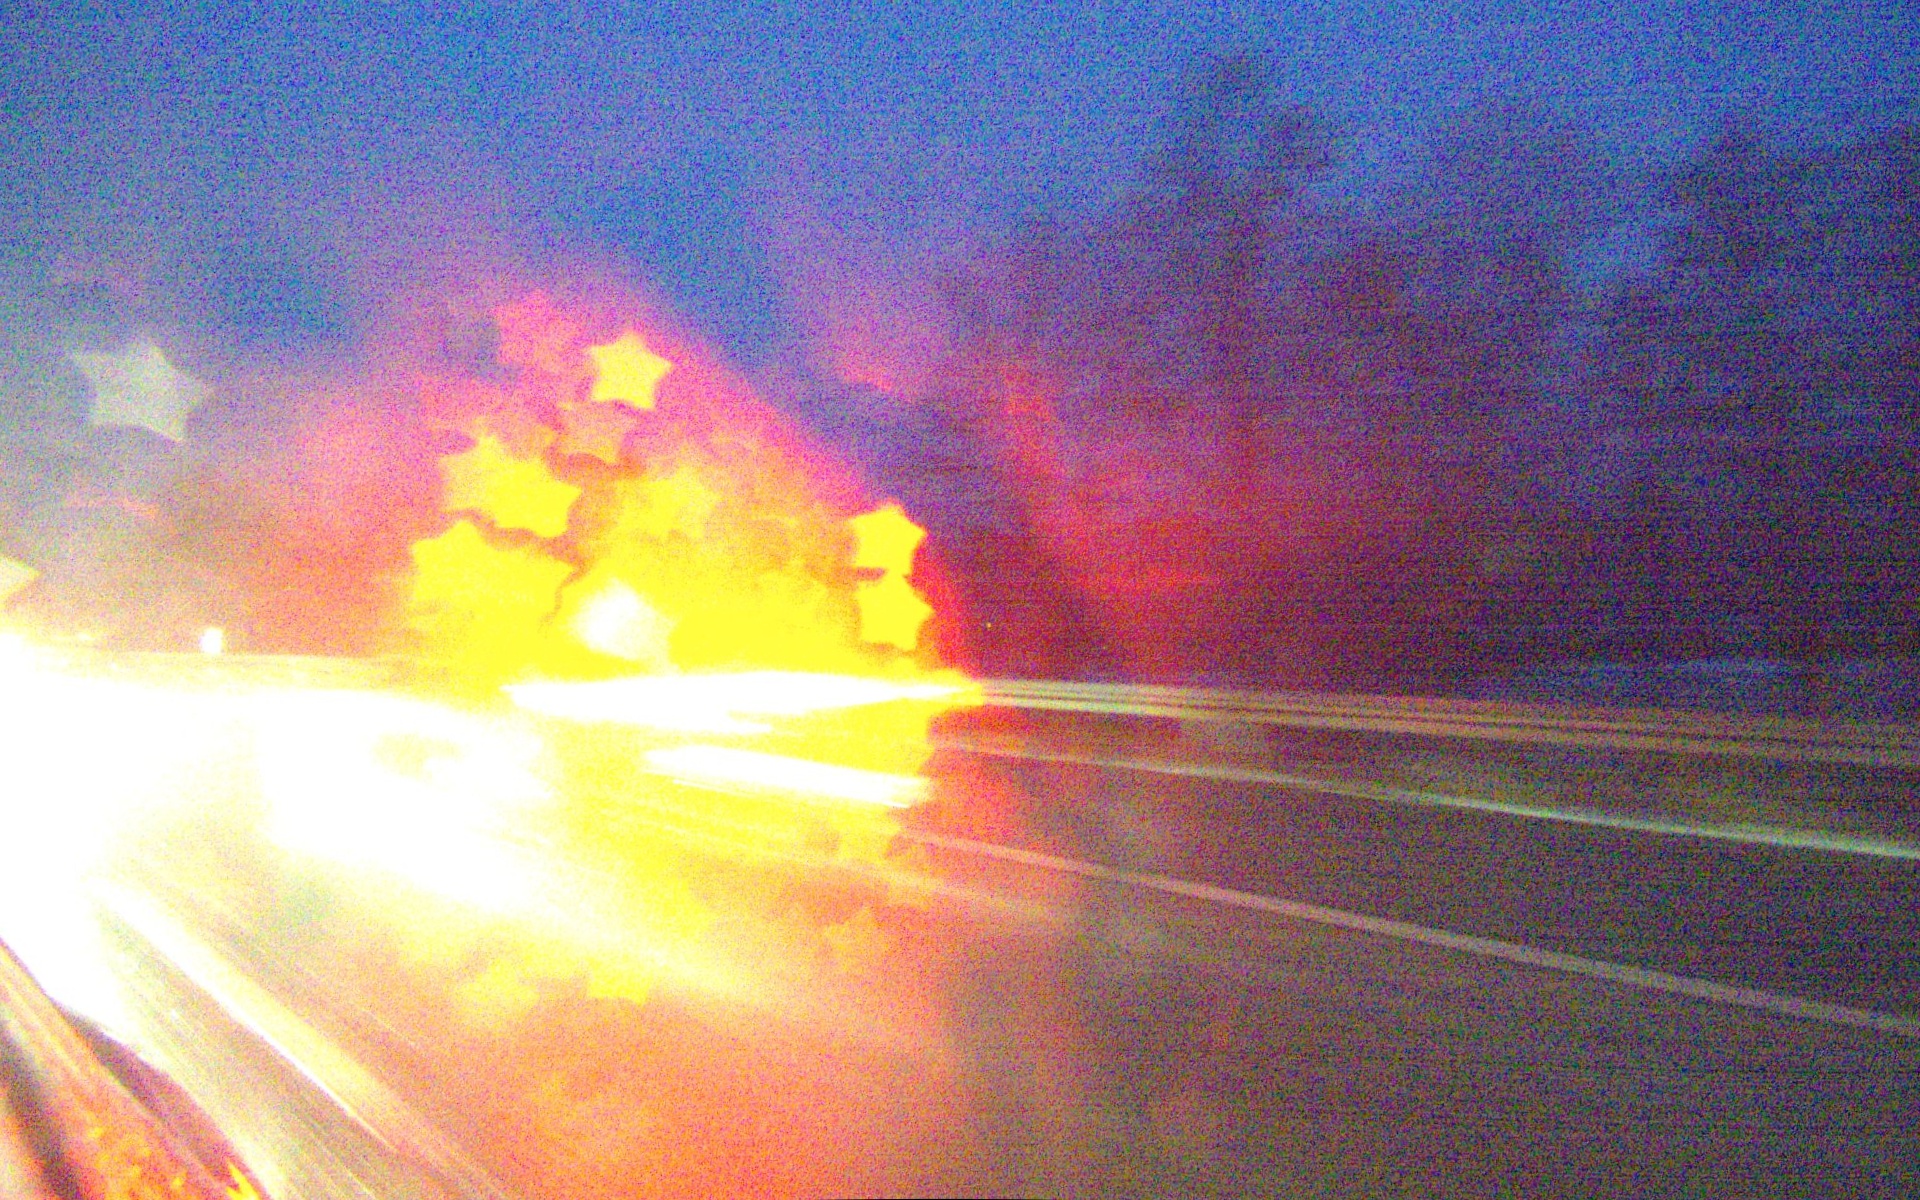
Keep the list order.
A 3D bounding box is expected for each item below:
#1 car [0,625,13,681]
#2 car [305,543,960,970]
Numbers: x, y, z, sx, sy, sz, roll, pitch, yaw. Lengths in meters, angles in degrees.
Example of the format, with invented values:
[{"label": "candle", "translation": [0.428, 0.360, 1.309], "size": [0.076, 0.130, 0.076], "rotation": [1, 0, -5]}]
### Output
[{"label": "car", "translation": [-28.210, 1.500, 28.601], "size": [3.598, 1.522, 1.767], "rotation": [-2, -2, 41]}, {"label": "car", "translation": [-2.154, 0.674, 6.000], "size": [4.141, 1.650, 1.840], "rotation": [-2, -2, 41]}]
